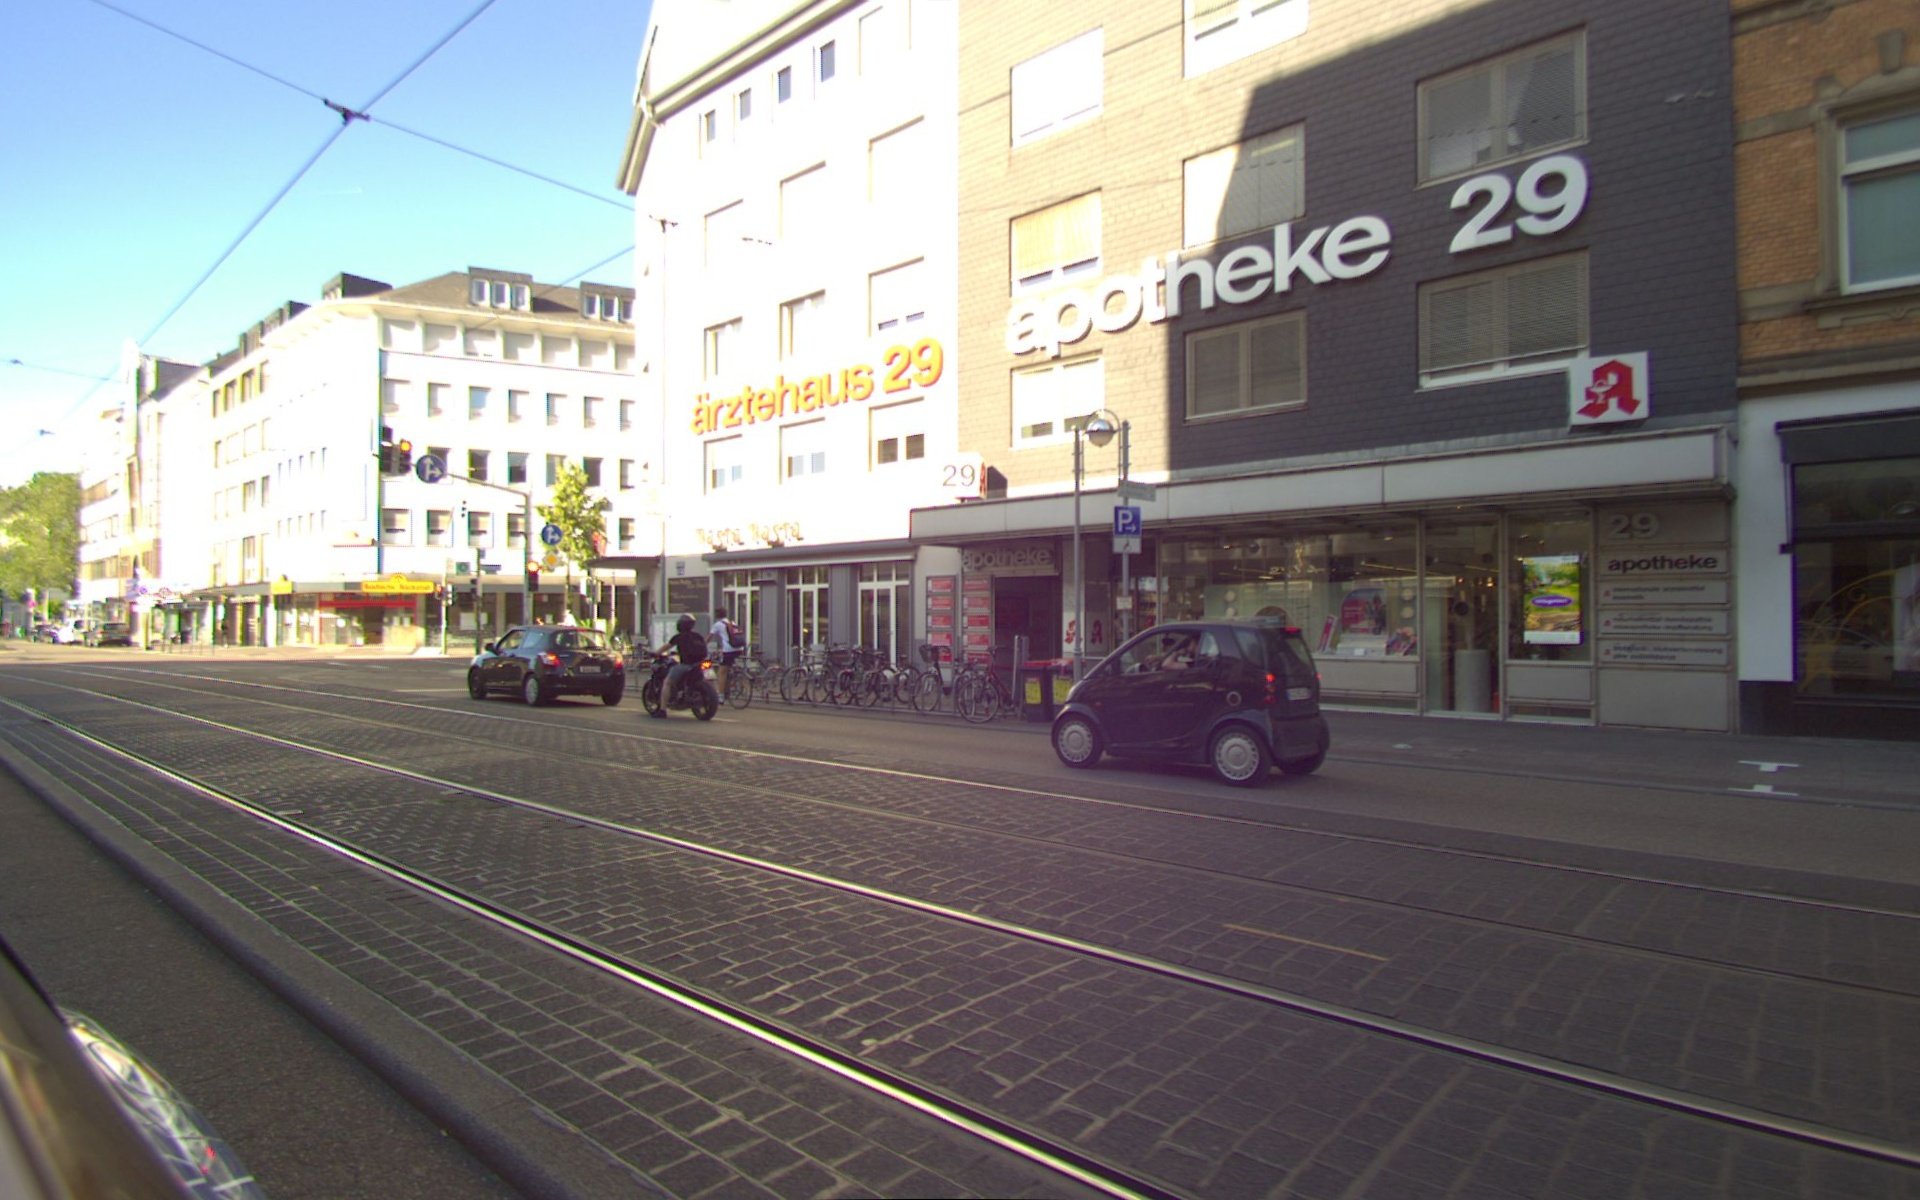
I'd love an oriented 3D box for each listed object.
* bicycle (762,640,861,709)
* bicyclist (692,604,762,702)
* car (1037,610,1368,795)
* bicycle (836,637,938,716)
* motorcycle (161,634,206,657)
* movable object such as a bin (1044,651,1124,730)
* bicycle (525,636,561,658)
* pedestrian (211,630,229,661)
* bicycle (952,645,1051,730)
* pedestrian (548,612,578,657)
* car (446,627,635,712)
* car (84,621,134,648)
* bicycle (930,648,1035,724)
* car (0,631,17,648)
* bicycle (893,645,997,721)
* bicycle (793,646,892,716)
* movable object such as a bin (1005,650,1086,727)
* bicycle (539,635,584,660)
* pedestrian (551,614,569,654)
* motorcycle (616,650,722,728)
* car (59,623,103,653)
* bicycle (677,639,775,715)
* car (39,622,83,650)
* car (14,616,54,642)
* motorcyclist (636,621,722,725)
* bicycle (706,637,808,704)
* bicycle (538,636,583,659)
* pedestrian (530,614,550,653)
[{"bbox_3d":[-2.851,1.410,19.649,0.772,1.181,1.917,-1,0,36],"label":"bicycle"},{"bbox_3d":[-4.301,0.959,18.648,1.146,1.742,0.742,-1,-2,42],"label":"bicyclist"},{"bbox_3d":[2.393,0.914,10.227,2.829,1.578,1.631,-2,-2,42],"label":"car"},{"bbox_3d":[-1.287,1.343,18.291,0.772,1.289,1.917,-1,-1,36],"label":"bicycle"},{"bbox_3d":[-52.696,3.104,68.673,0.999,1.517,2.226,-2,-2,38],"label":"motorcycle"},{"bbox_3d":[1.871,1.336,15.214,0.698,1.071,1.088,-2,-1,41],"label":"movable object such as a bin"},{"bbox_3d":[-18.667,2.102,45.318,1.432,0.963,0.482,1,-2,-39],"label":"bicycle"},{"bbox_3d":[-41.653,2.582,56.945,0.700,1.722,0.562,1,-2,-27],"label":"pedestrian"},{"bbox_3d":[0.676,1.334,15.864,0.551,1.199,1.916,-1,-2,37],"label":"bicycle"},{"bbox_3d":[-17.235,1.493,43.960,0.985,1.881,0.782,1,-4,-39],"label":"pedestrian"},{"bbox_3d":[-8.106,1.286,19.394,4.137,1.457,1.695,-2,-4,42],"label":"car"},{"bbox_3d":[-55.534,2.230,66.020,3.998,1.719,1.972,-2,-2,42],"label":"car"},{"bbox_3d":[0.401,1.382,16.713,0.772,1.119,1.917,-1,-2,36],"label":"bicycle"},{"bbox_3d":[-103.342,4.188,107.862,1.999,1.811,3.944,-2,-2,42],"label":"car"},{"bbox_3d":[-0.233,1.373,17.279,0.772,1.161,1.917,-1,-1,36],"label":"bicycle"},{"bbox_3d":[-2.197,1.488,19.113,0.772,1.201,1.917,-1,-2,36],"label":"bicycle"},{"bbox_3d":[1.338,1.349,15.708,0.735,1.080,1.088,-2,-1,41],"label":"movable object such as a bin"},{"bbox_3d":[-17.299,2.064,43.911,1.697,1.015,0.762,1,-5,-36],"label":"bicycle"},{"bbox_3d":[-17.579,1.501,44.469,0.550,1.741,0.782,1,-1,-39],"label":"pedestrian"},{"bbox_3d":[-4.650,1.373,16.083,2.116,1.128,0.564,-1,-3,42],"label":"motorcycle"},{"bbox_3d":[-61.927,2.660,71.273,4.844,2.029,1.971,-2,-2,45],"label":"car"},{"bbox_3d":[-4.333,1.385,18.676,2.025,1.303,0.742,-1,-2,42],"label":"bicycle"},{"bbox_3d":[-66.408,2.635,74.752,3.998,2.029,1.972,-2,-2,42],"label":"car"},{"bbox_3d":[-75.056,2.362,82.004,3.998,2.029,1.972,-2,-2,42],"label":"car"},{"bbox_3d":[-4.419,1.122,15.907,1.146,1.570,0.794,-1,-3,42],"label":"motorcyclist"},{"bbox_3d":[-4.187,1.429,21.010,0.772,1.233,2.084,-1,0,36],"label":"bicycle"},{"bbox_3d":[-17.633,2.096,44.634,1.765,0.975,0.555,1,-2,-36],"label":"bicycle"},{"bbox_3d":[-18.726,1.481,45.142,0.644,1.725,0.794,1,-1,-39],"label":"pedestrian"}]
